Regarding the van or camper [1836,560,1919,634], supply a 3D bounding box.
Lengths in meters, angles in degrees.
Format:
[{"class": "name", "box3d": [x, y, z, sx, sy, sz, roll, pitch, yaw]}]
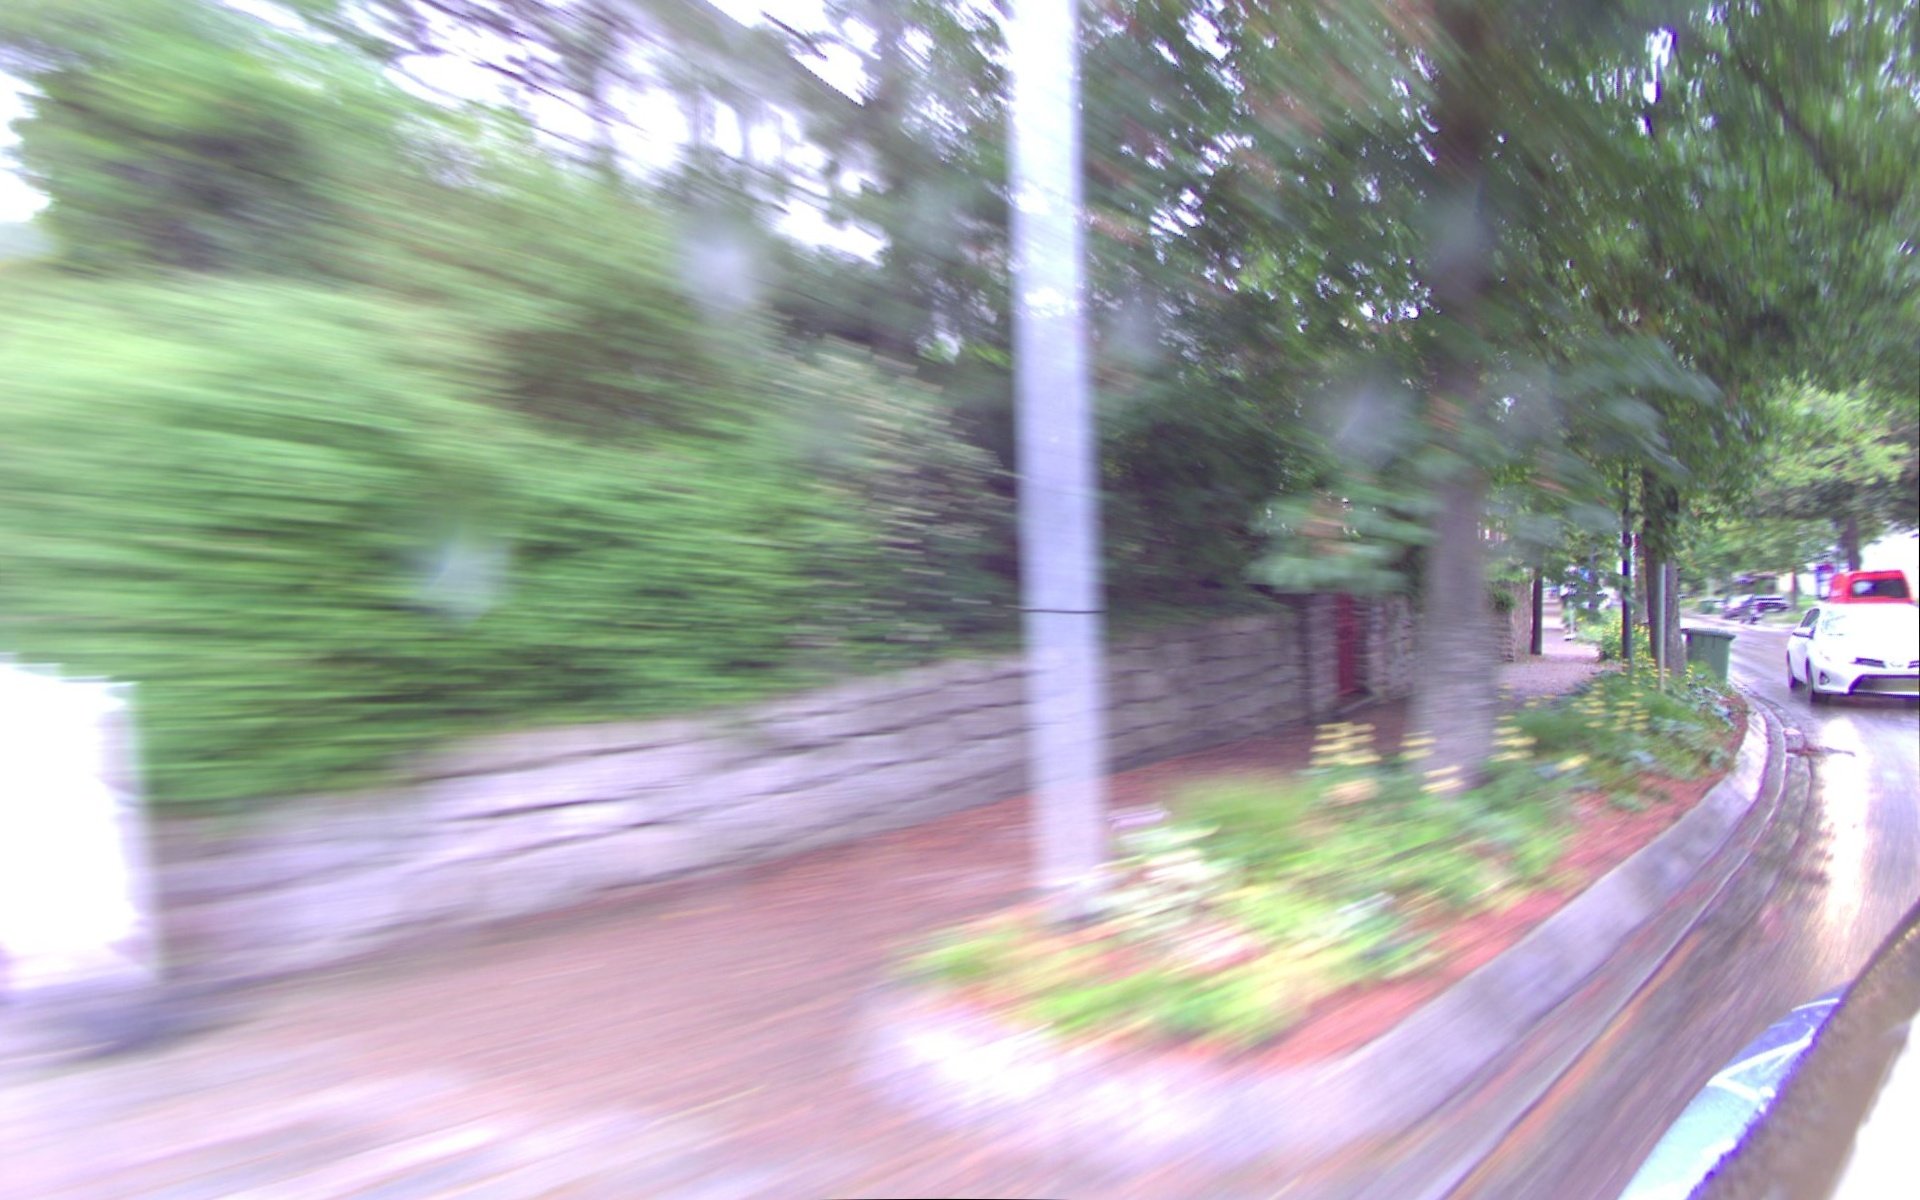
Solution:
[{"class": "van or camper", "box3d": [34.367, -0.139, 37.717, 1.986, 2.565, 4.687, 1, 1, 34]}]

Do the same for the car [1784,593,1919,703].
[{"class": "car", "box3d": [14.099, 0.654, 15.472, 1.846, 1.453, 3.970, -1, 0, 33]}]
